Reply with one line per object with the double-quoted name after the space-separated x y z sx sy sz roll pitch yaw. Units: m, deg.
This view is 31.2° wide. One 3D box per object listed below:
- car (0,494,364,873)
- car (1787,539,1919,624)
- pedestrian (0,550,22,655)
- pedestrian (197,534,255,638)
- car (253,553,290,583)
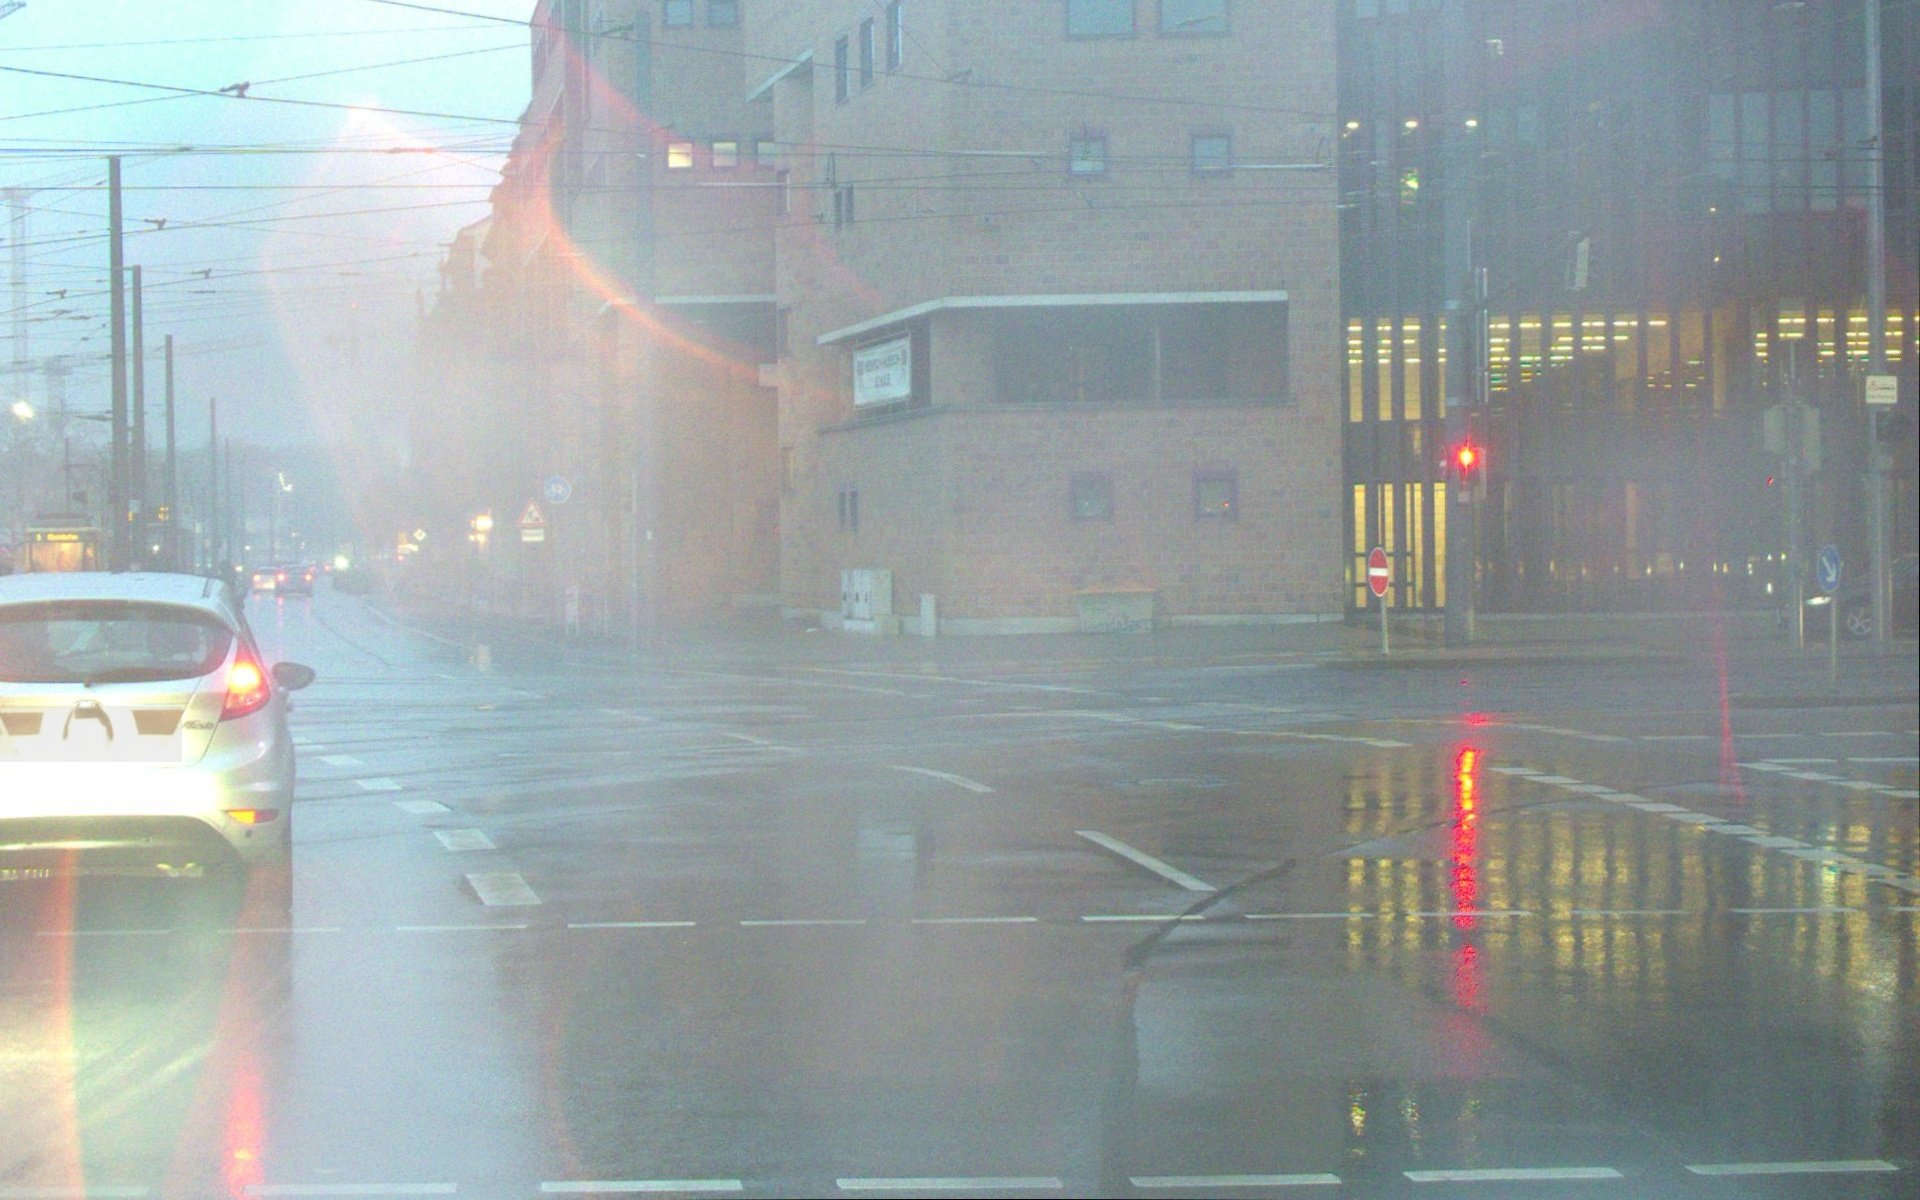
-3.736 0.432 15.601 1.705 1.443 4.000 -2 -2 -14 "car"
15.693 -0.332 55.742 3.986 1.305 2.000 -1 1 -4 "car"
-18.768 0.039 66.389 0.981 2.007 0.834 0 1 14 "pedestrian"
-14.333 -0.284 67.118 1.068 2.007 0.685 -1 1 -13 "pedestrian"
-37.892 -1.773 189.213 1.870 1.573 4.001 1 1 -10 "car"
